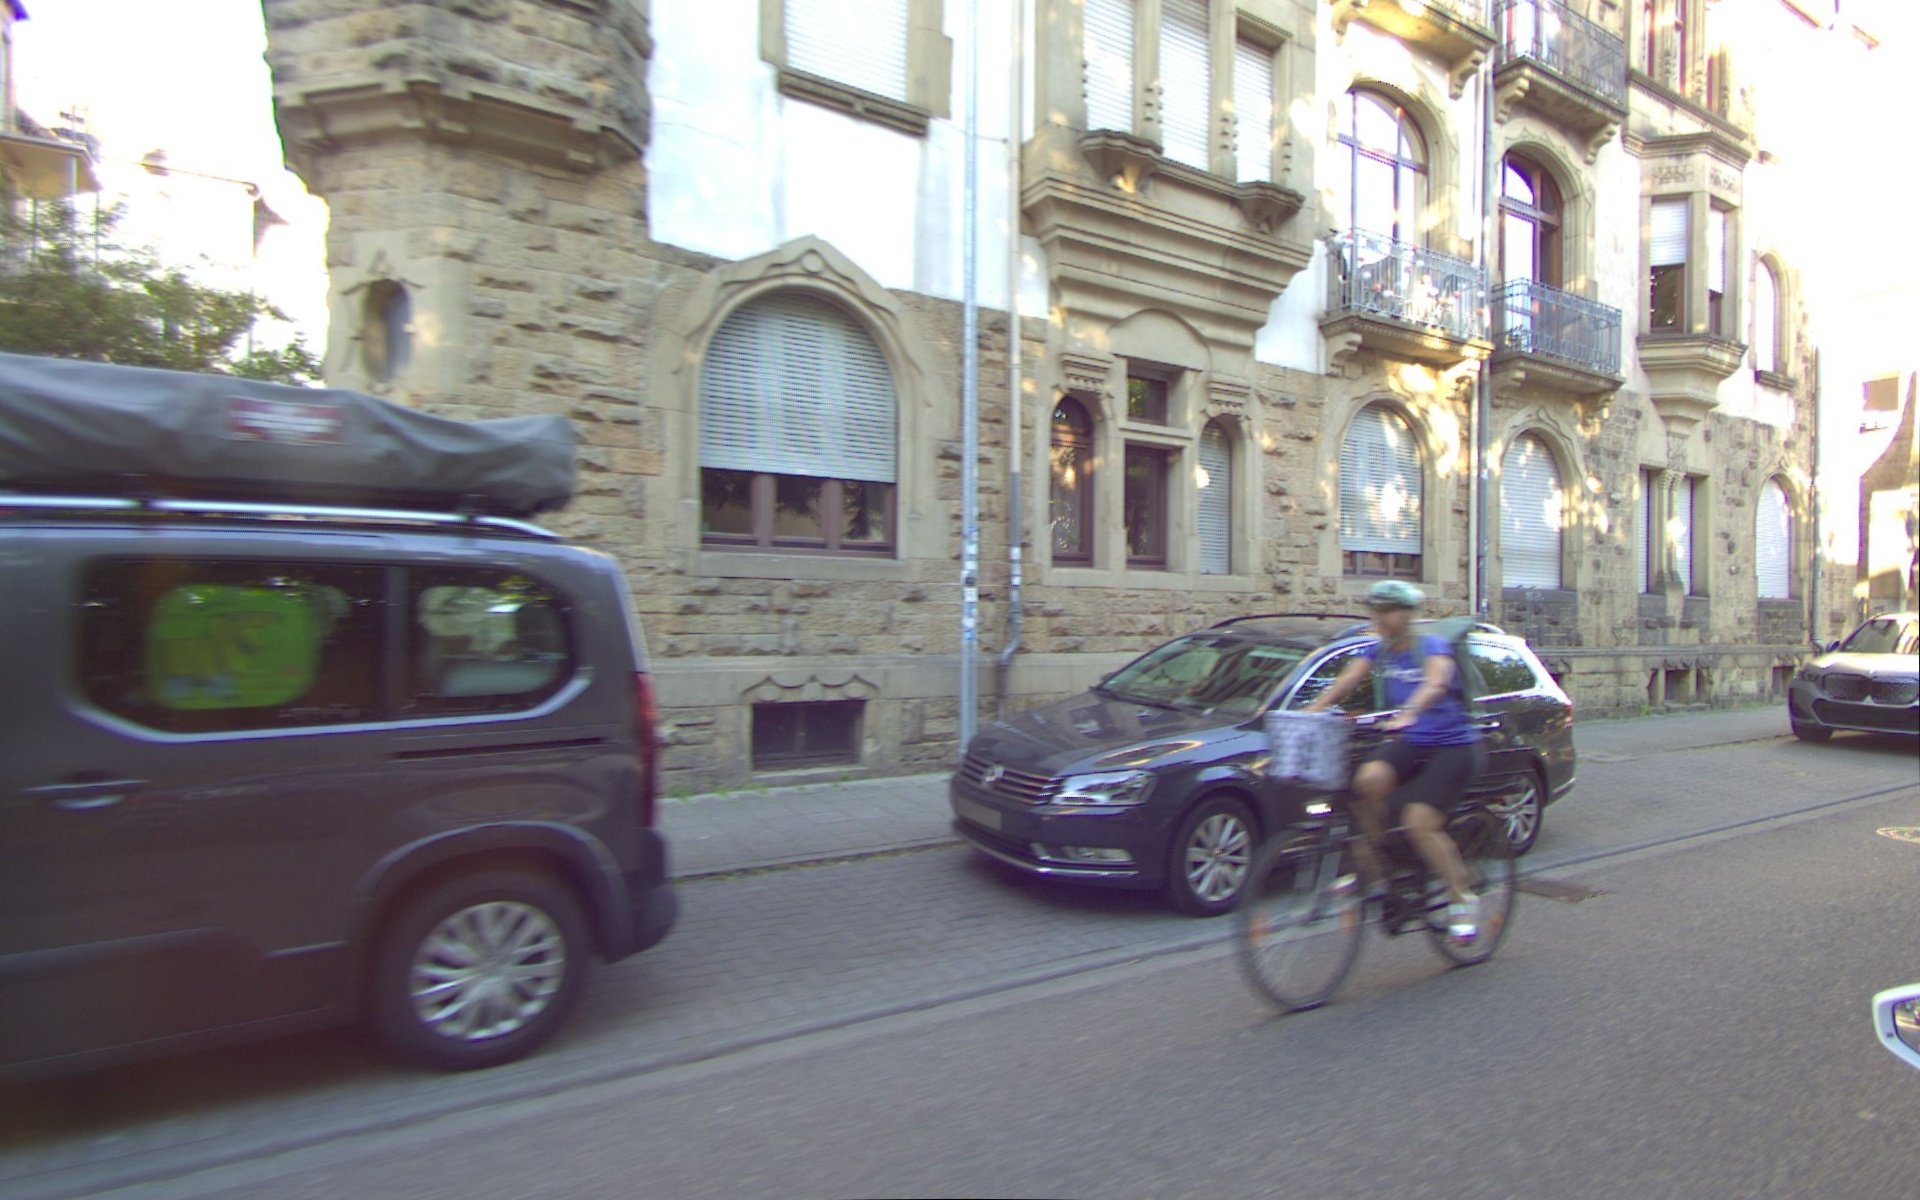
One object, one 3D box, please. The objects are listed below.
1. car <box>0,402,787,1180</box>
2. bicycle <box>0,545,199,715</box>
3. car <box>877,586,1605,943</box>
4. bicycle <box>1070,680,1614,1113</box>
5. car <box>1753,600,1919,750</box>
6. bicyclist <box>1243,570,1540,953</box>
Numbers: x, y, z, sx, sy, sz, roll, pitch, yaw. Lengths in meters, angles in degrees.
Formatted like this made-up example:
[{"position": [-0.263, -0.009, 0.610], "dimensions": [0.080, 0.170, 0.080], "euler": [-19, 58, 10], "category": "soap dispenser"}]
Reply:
[{"position": [-3.041, 0.481, 3.365], "dimensions": [4.449, 2.001, 1.957], "euler": [1, 0, -33], "category": "car"}, {"position": [-11.332, 0.383, 13.229], "dimensions": [0.996, 2.040, 2.196], "euler": [0, -1, -2], "category": "bicycle"}, {"position": [1.951, 0.822, 6.415], "dimensions": [4.653, 1.595, 1.721], "euler": [2, -2, -30], "category": "car"}, {"position": [1.685, 0.991, 4.135], "dimensions": [2.594, 1.194, 0.748], "euler": [0, -2, -35], "category": "bicycle"}, {"position": [12.046, 0.902, 12.596], "dimensions": [4.349, 1.643, 2.038], "euler": [2, -2, -33], "category": "car"}, {"position": [1.791, 0.588, 4.165], "dimensions": [1.049, 1.363, 0.661], "euler": [0, -2, -34], "category": "bicyclist"}]
